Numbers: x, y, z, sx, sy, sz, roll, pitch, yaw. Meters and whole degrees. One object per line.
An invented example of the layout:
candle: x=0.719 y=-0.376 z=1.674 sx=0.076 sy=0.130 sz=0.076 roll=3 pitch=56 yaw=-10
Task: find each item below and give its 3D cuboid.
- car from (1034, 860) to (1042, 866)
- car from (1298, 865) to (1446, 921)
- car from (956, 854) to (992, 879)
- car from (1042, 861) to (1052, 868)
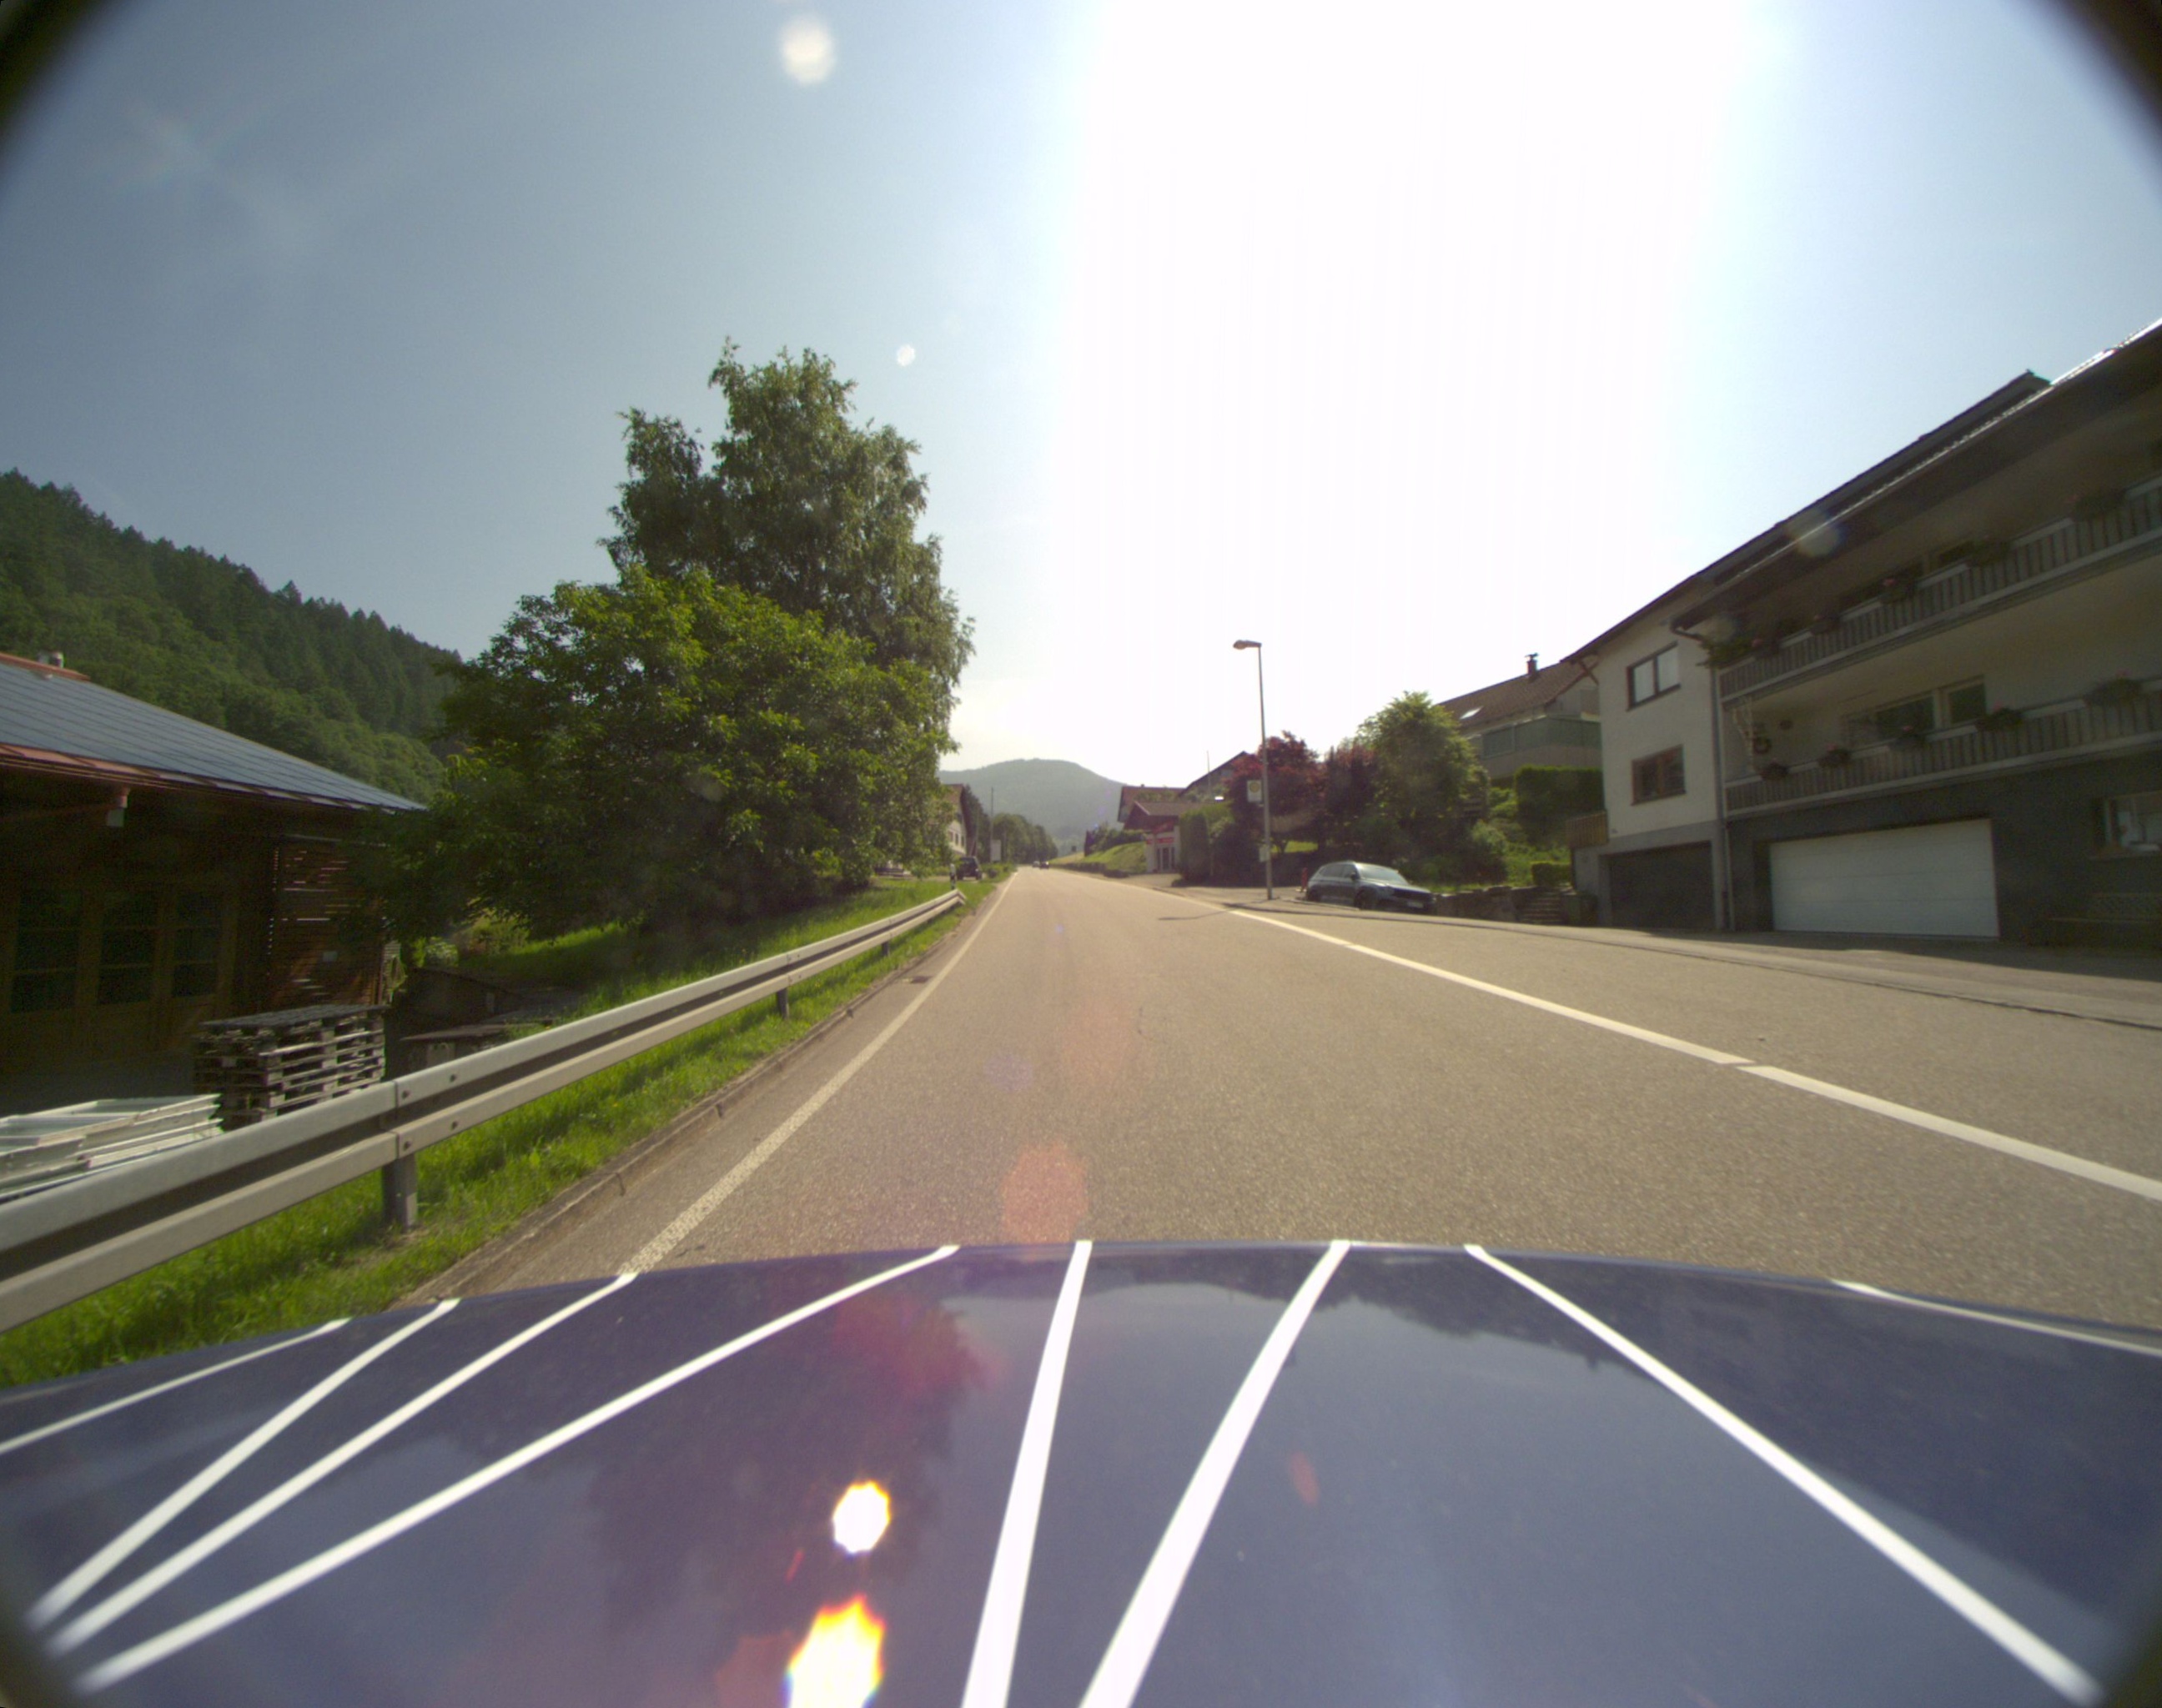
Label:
car: x=-11.107 y=2.211 z=194.166 sx=1.817 sy=1.500 sz=4.260 roll=-1 pitch=0 yaw=-6
car: x=7.929 y=1.011 z=21.244 sx=1.788 sy=1.331 sz=4.692 roll=0 pitch=0 yaw=-8
car: x=-8.170 y=0.935 z=58.319 sx=1.812 sy=1.802 sz=4.665 roll=1 pitch=0 yaw=3
car: x=-6.886 y=2.112 z=152.784 sx=1.816 sy=1.500 sz=4.260 roll=-1 pitch=0 yaw=-6
